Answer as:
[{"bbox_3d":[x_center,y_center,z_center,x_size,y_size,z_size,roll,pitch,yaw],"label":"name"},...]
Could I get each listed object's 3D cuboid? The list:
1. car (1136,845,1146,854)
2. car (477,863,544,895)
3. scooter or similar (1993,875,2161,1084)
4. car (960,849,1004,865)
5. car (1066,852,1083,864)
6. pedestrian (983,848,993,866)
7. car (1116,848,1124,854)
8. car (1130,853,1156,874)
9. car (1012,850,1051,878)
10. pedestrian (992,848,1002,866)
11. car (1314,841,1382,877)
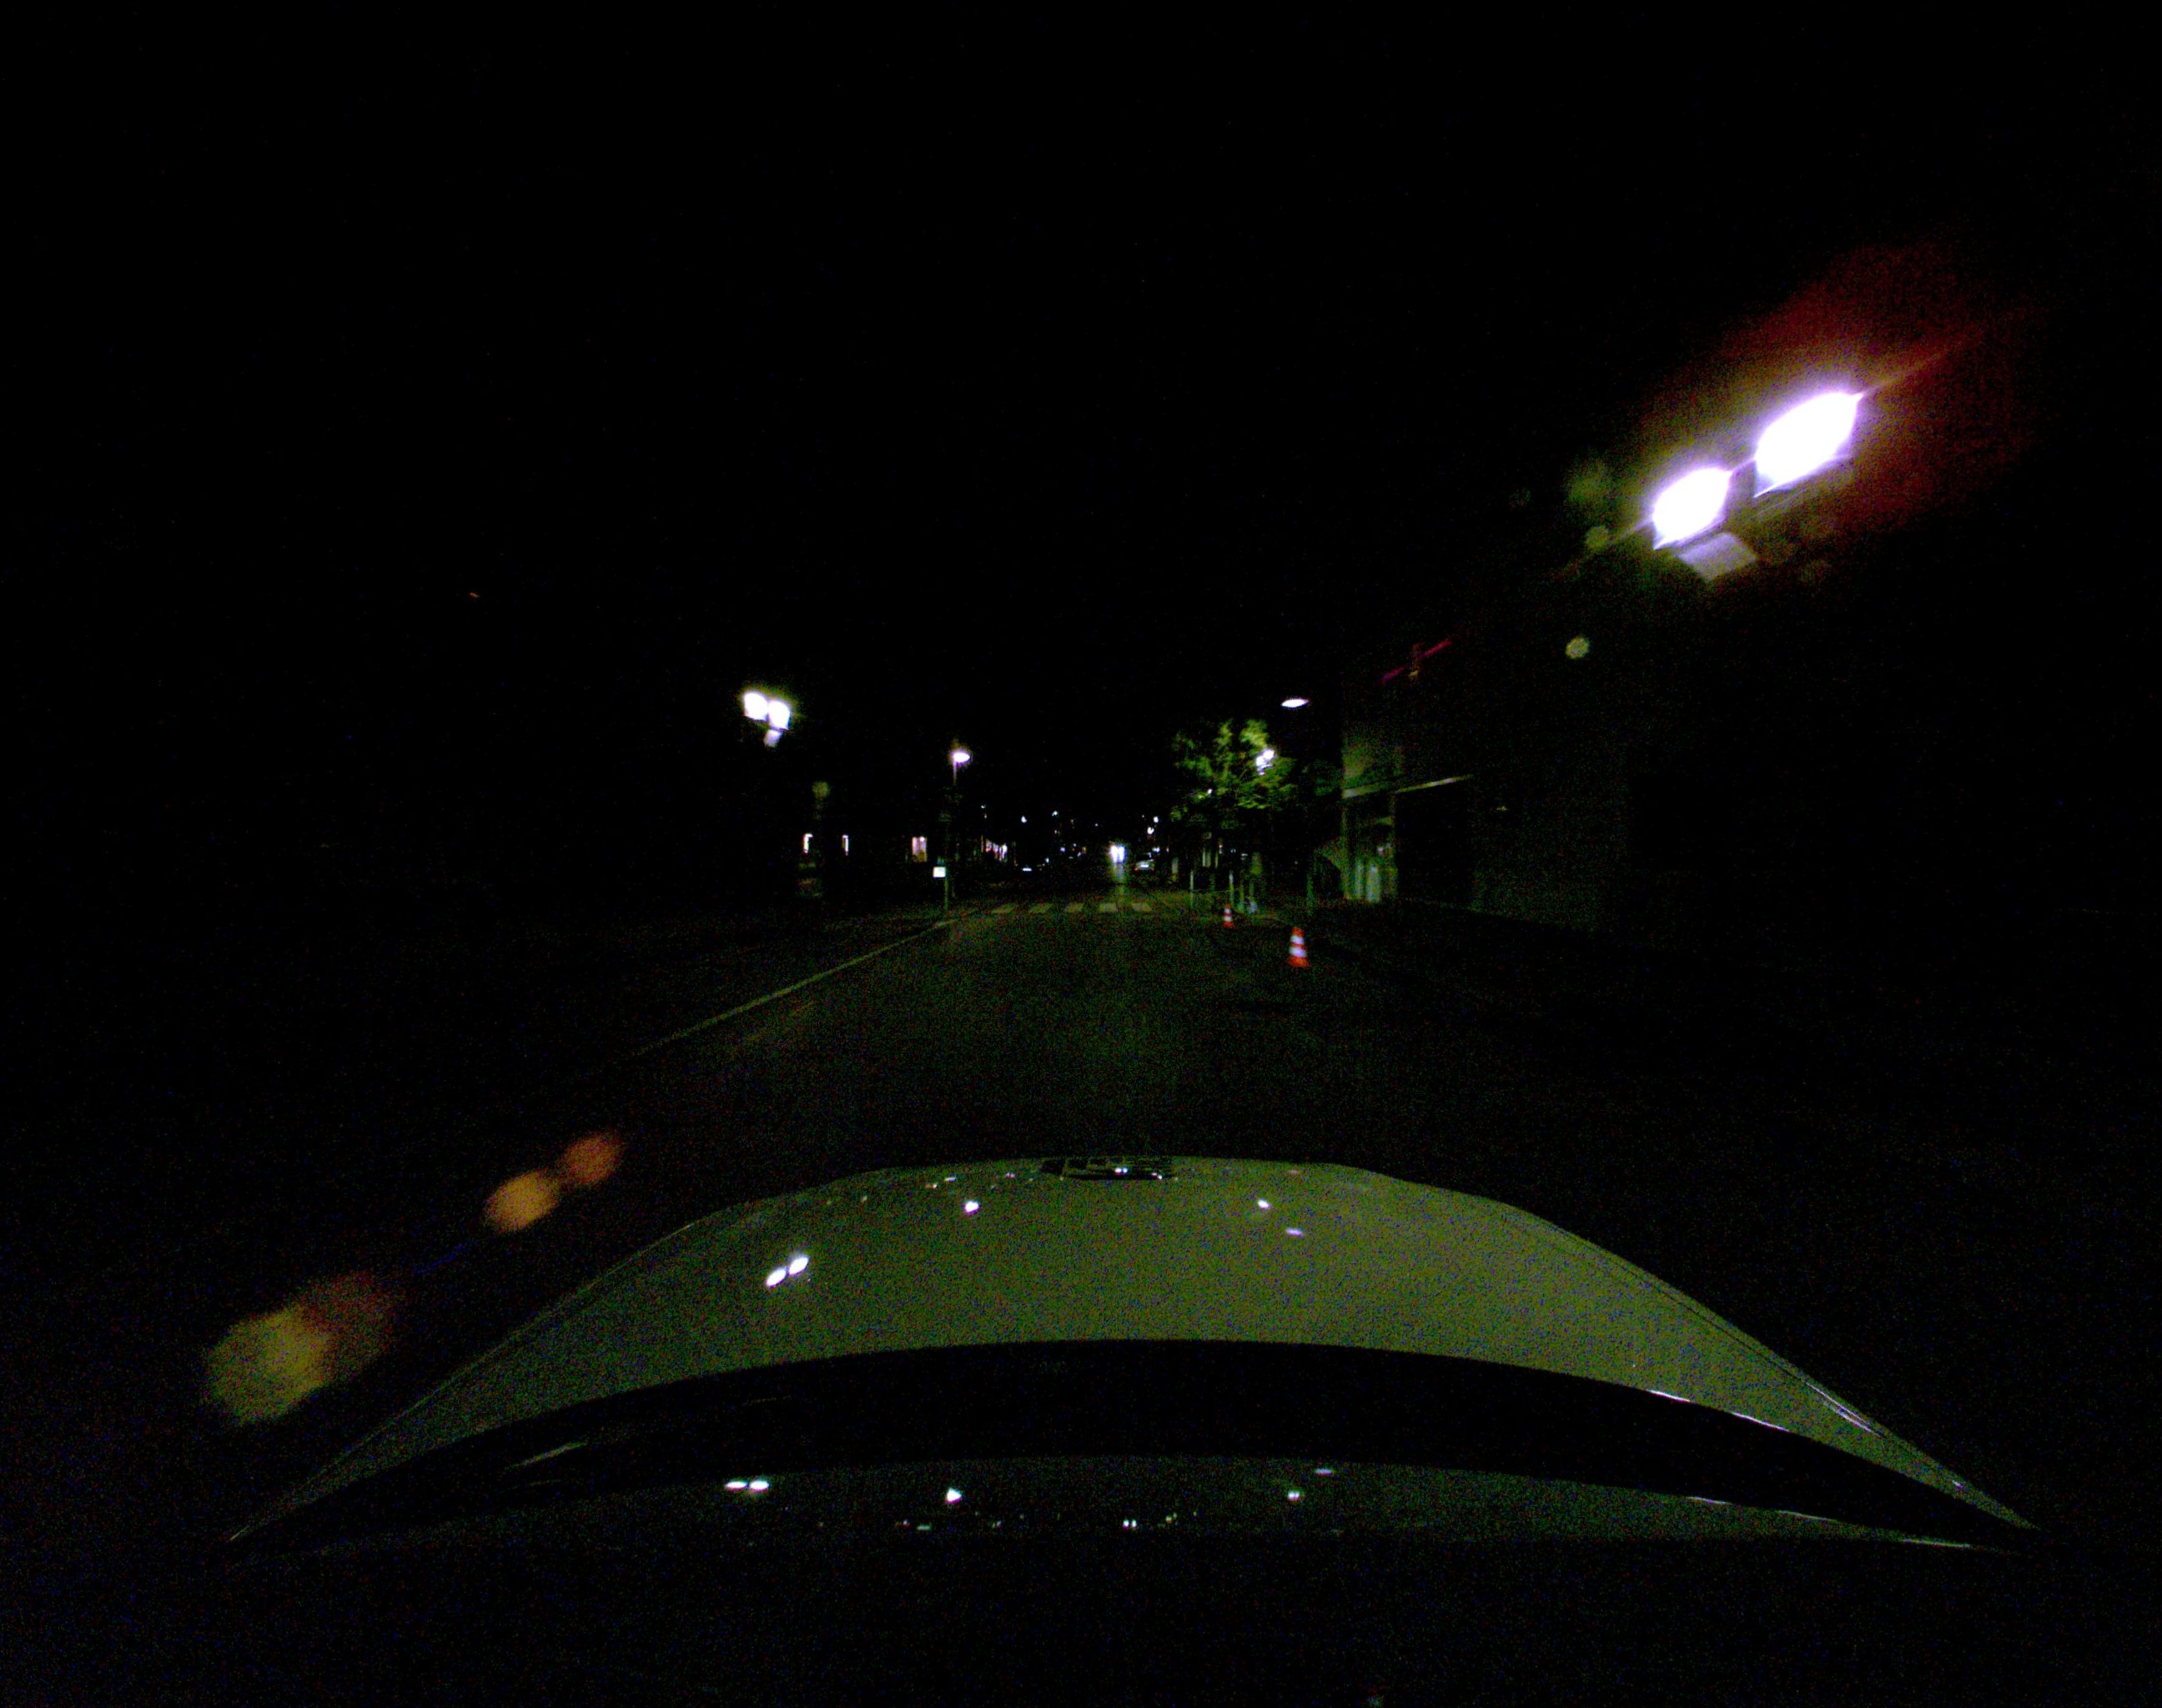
[{"bbox_3d":[11.839,-0.935,160.981,1.767,1.652,4.369,-1,1,4],"label":"car"},{"bbox_3d":[-27.835,1.179,39.662,3.950,1.441,1.932,-1,1,44],"label":"car"},{"bbox_3d":[6.828,0.780,5.285,0.371,1.277,1.306,-1,-1,3],"label":"scooter or similar"},{"bbox_3d":[-10.230,0.316,84.225,4.147,1.438,1.844,-3,0,5],"label":"car"},{"bbox_3d":[-0.805,0.522,107.692,1.906,1.370,4.463,-1,1,4],"label":"car"},{"bbox_3d":[-8.556,0.281,75.177,0.766,1.656,0.818,0,2,3],"label":"pedestrian"},{"bbox_3d":[8.751,-0.659,181.992,1.715,1.246,4.241,0,0,4],"label":"car"},{"bbox_3d":[4.493,0.662,59.220,1.669,1.459,3.676,0,0,0],"label":"car"},{"bbox_3d":[-3.228,0.622,53.809,2.009,1.691,5.007,1,0,3],"label":"car"},{"bbox_3d":[-7.774,0.279,75.137,0.766,1.656,0.783,0,2,3],"label":"pedestrian"},{"bbox_3d":[12.346,0.248,37.952,1.798,1.460,4.057,-4,-1,1],"label":"car"}]
